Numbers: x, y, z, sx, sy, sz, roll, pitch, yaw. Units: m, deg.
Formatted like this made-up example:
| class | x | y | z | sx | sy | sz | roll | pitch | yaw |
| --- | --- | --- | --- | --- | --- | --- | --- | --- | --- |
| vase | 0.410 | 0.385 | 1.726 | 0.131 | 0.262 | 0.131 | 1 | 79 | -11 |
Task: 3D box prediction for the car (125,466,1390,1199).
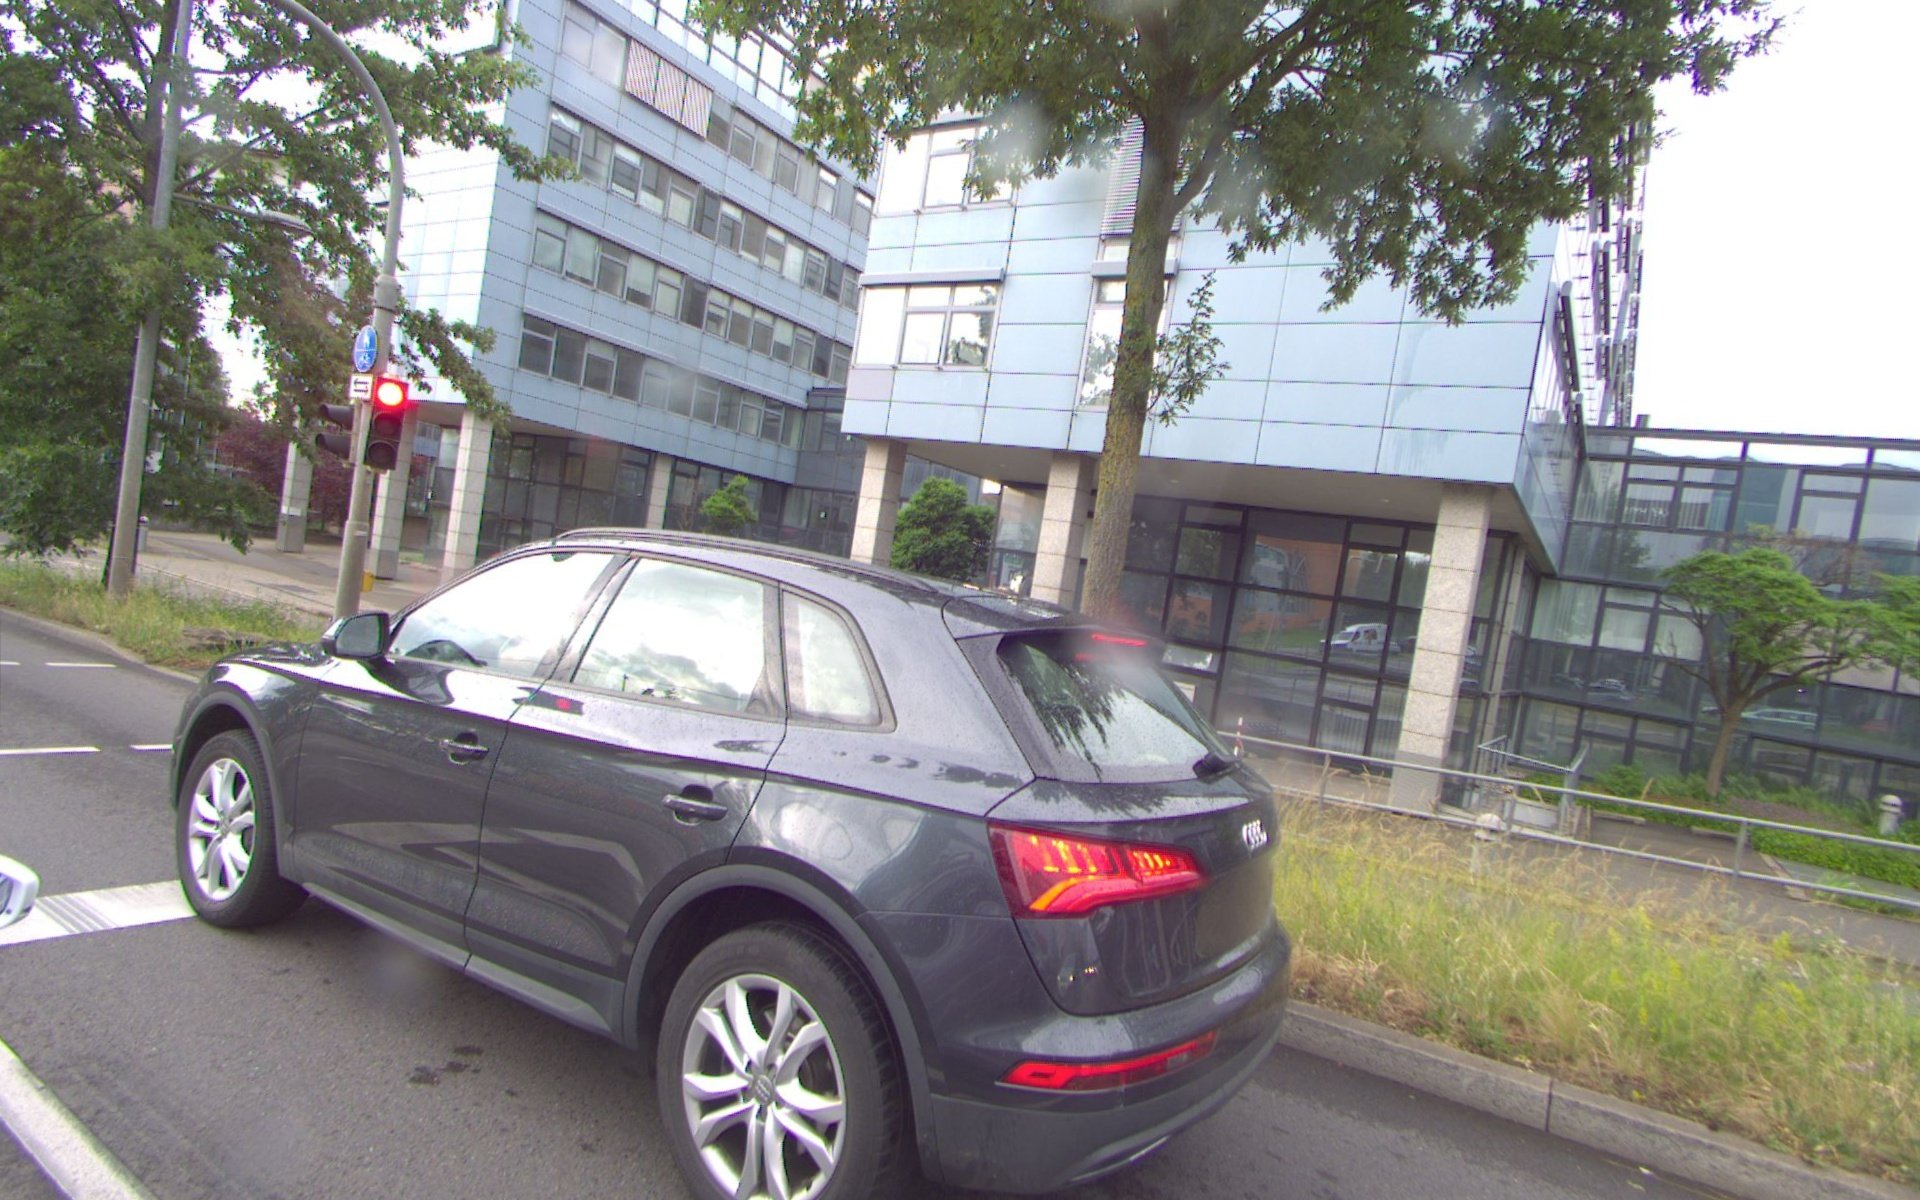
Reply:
| class | x | y | z | sx | sy | sz | roll | pitch | yaw |
| --- | --- | --- | --- | --- | --- | --- | --- | --- | --- |
| car | -0.988 | 0.571 | 3.728 | 4.396 | 1.632 | 1.821 | 7 | -1 | 32 |
